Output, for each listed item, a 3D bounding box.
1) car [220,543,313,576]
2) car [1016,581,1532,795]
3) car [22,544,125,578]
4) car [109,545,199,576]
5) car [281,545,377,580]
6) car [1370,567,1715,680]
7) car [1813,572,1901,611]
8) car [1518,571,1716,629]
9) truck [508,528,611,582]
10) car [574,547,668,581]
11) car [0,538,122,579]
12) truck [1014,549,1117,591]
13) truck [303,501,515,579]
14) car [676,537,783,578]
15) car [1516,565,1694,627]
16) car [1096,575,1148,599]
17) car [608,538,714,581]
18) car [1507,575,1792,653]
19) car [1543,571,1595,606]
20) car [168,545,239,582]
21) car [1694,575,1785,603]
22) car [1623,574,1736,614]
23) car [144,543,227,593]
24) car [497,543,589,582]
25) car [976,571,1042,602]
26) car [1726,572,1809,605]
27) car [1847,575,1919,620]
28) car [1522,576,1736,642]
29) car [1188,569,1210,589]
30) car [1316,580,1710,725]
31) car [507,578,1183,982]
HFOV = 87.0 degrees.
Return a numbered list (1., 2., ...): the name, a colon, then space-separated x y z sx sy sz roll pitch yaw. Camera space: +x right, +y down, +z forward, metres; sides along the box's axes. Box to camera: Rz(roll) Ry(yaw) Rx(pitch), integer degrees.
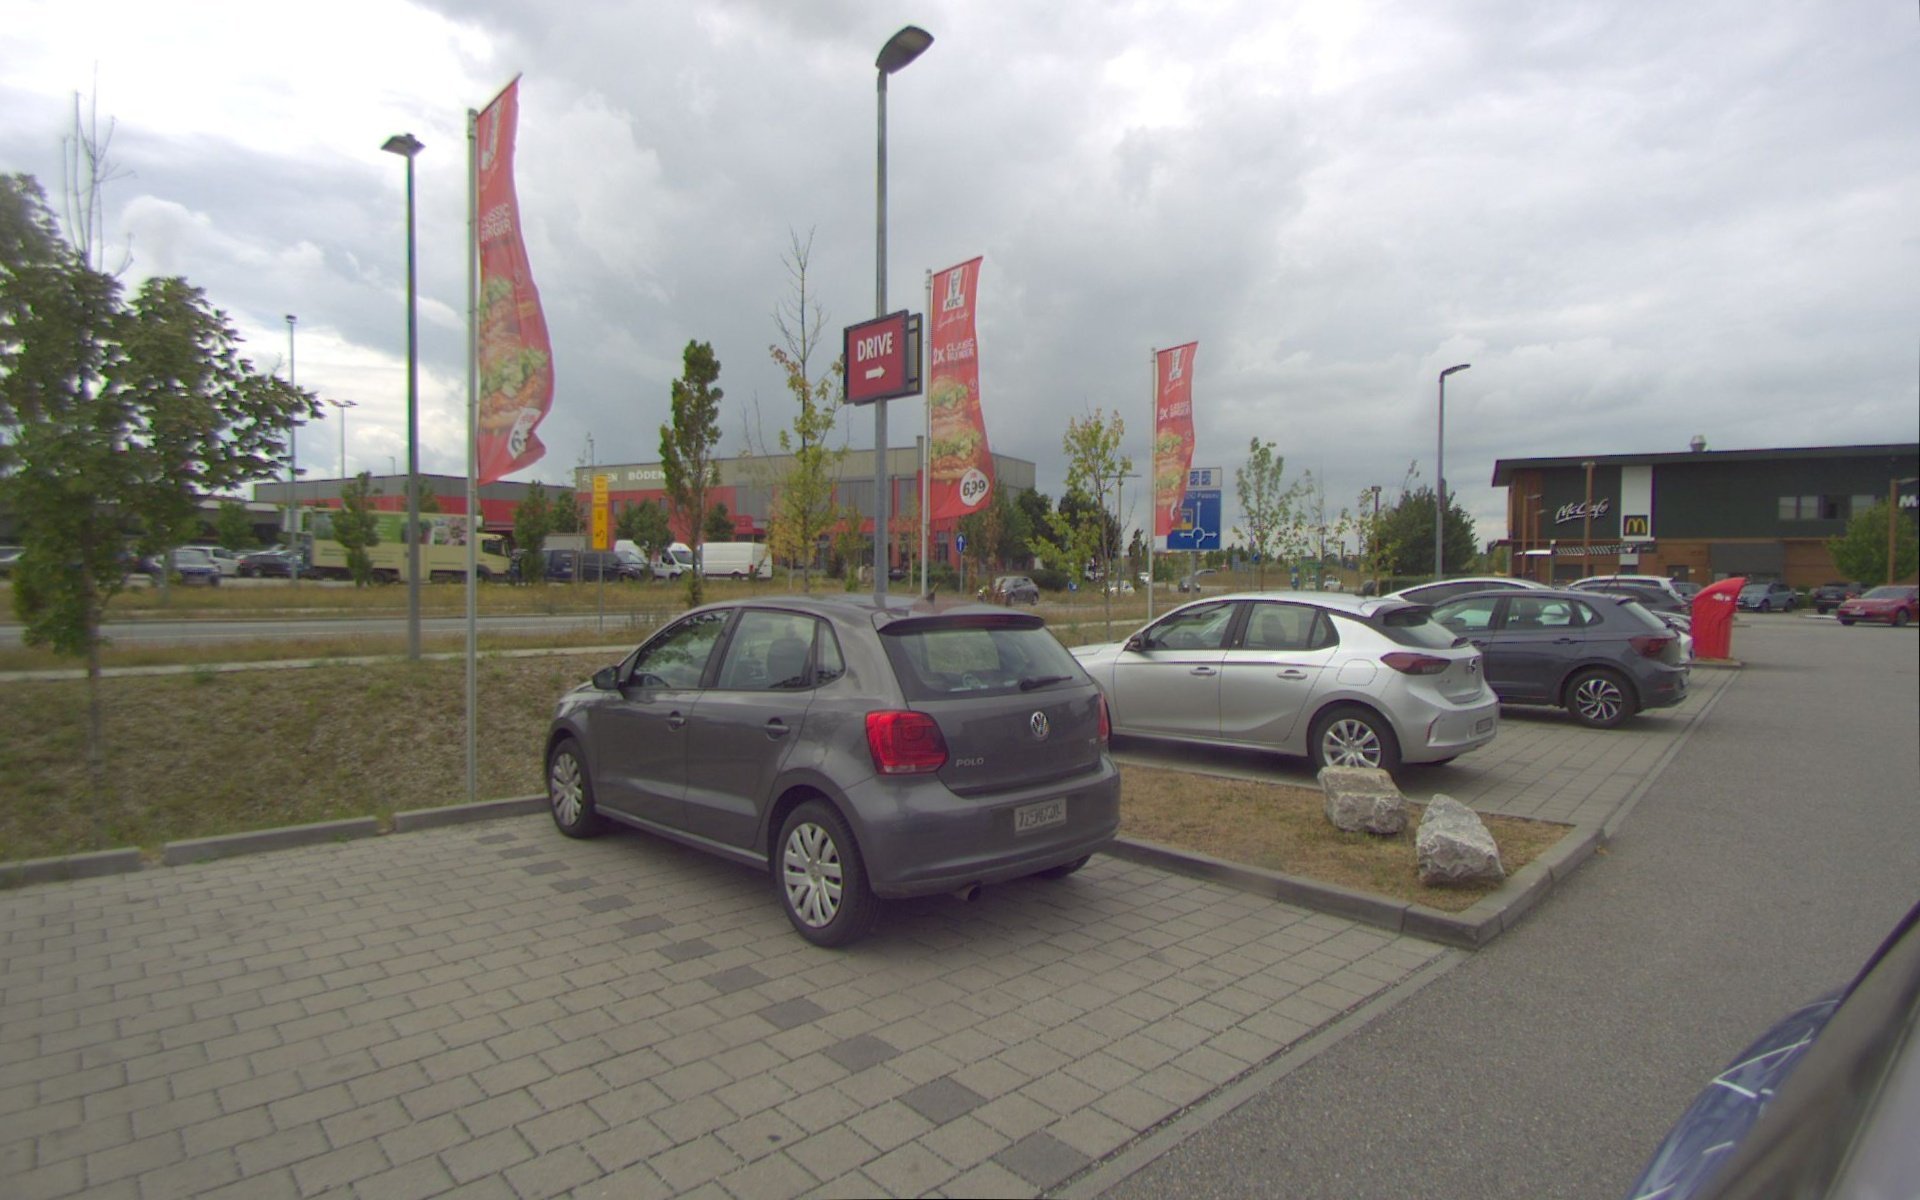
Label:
1. car: -39.966 -2.314 58.409 1.982 1.793 3.962 3 3 28
2. car: 2.561 0.592 8.849 3.927 1.430 1.811 -1 0 44
3. car: -51.427 -2.222 58.748 1.985 1.860 4.139 3 3 32
4. car: -51.829 -2.531 65.122 1.985 1.860 4.139 3 3 32
5. car: -34.687 -2.079 55.754 1.981 1.793 4.105 3 3 26
6. car: 9.154 0.325 16.107 4.522 1.560 1.899 -1 0 39
7. car: 46.115 -0.442 52.027 3.917 1.771 2.004 2 2 -26
8. car: 18.143 0.008 28.189 4.481 1.485 1.925 -1 0 32
9. truck: -30.257 -3.446 76.302 8.184 3.789 2.630 3 3 29
10. car: -18.429 -1.949 54.966 5.028 1.659 2.056 3 2 30
11. car: -42.707 -1.961 47.935 1.983 1.793 4.276 3 3 30
12. truck: 12.550 -3.699 121.274 11.925 4.553 3.720 3 3 36
13. truck: -25.012 -2.693 46.528 8.255 3.235 3.037 0 2 -22
14. car: -14.057 -2.589 61.612 6.447 2.295 2.323 3 3 28
15. car: 19.156 -0.101 30.276 4.338 1.734 1.970 -1 0 32
16. car: 10.856 -0.833 67.633 1.744 1.510 4.077 2 1 35
17. car: -17.120 -2.340 57.859 6.009 2.241 2.391 3 2 30
18. car: 14.114 0.271 21.072 4.705 1.475 1.890 -1 0 32
19. car: 32.467 -0.628 54.037 1.791 1.710 4.158 3 3 24
20. car: -39.167 -1.941 52.501 1.958 1.793 4.010 1 3 -22
21. car: 46.477 -0.680 60.441 3.962 1.524 1.772 3 3 27
22. car: 27.222 -0.234 38.275 3.848 1.430 1.691 1 1 -23
23. car: -30.329 -1.265 39.591 4.307 1.793 1.902 4 3 43
24. car: -21.274 -1.890 51.552 5.039 1.908 2.051 1 1 36
25. car: 2.552 -0.675 52.000 1.740 1.510 4.087 1 1 29
26. car: 42.875 -0.606 53.752 3.823 1.603 1.755 0 3 -22
27. car: 32.960 -0.072 35.001 3.915 1.482 1.691 1 1 -18
28. car: 15.539 0.207 23.746 4.039 1.430 1.867 -1 0 32
29. car: 23.055 -2.070 97.628 1.971 1.726 3.984 2 3 14
30. car: 6.381 0.516 11.885 3.791 1.430 1.713 -1 0 41
31. car: -0.923 0.633 5.666 1.699 1.446 3.989 -1 0 -44
